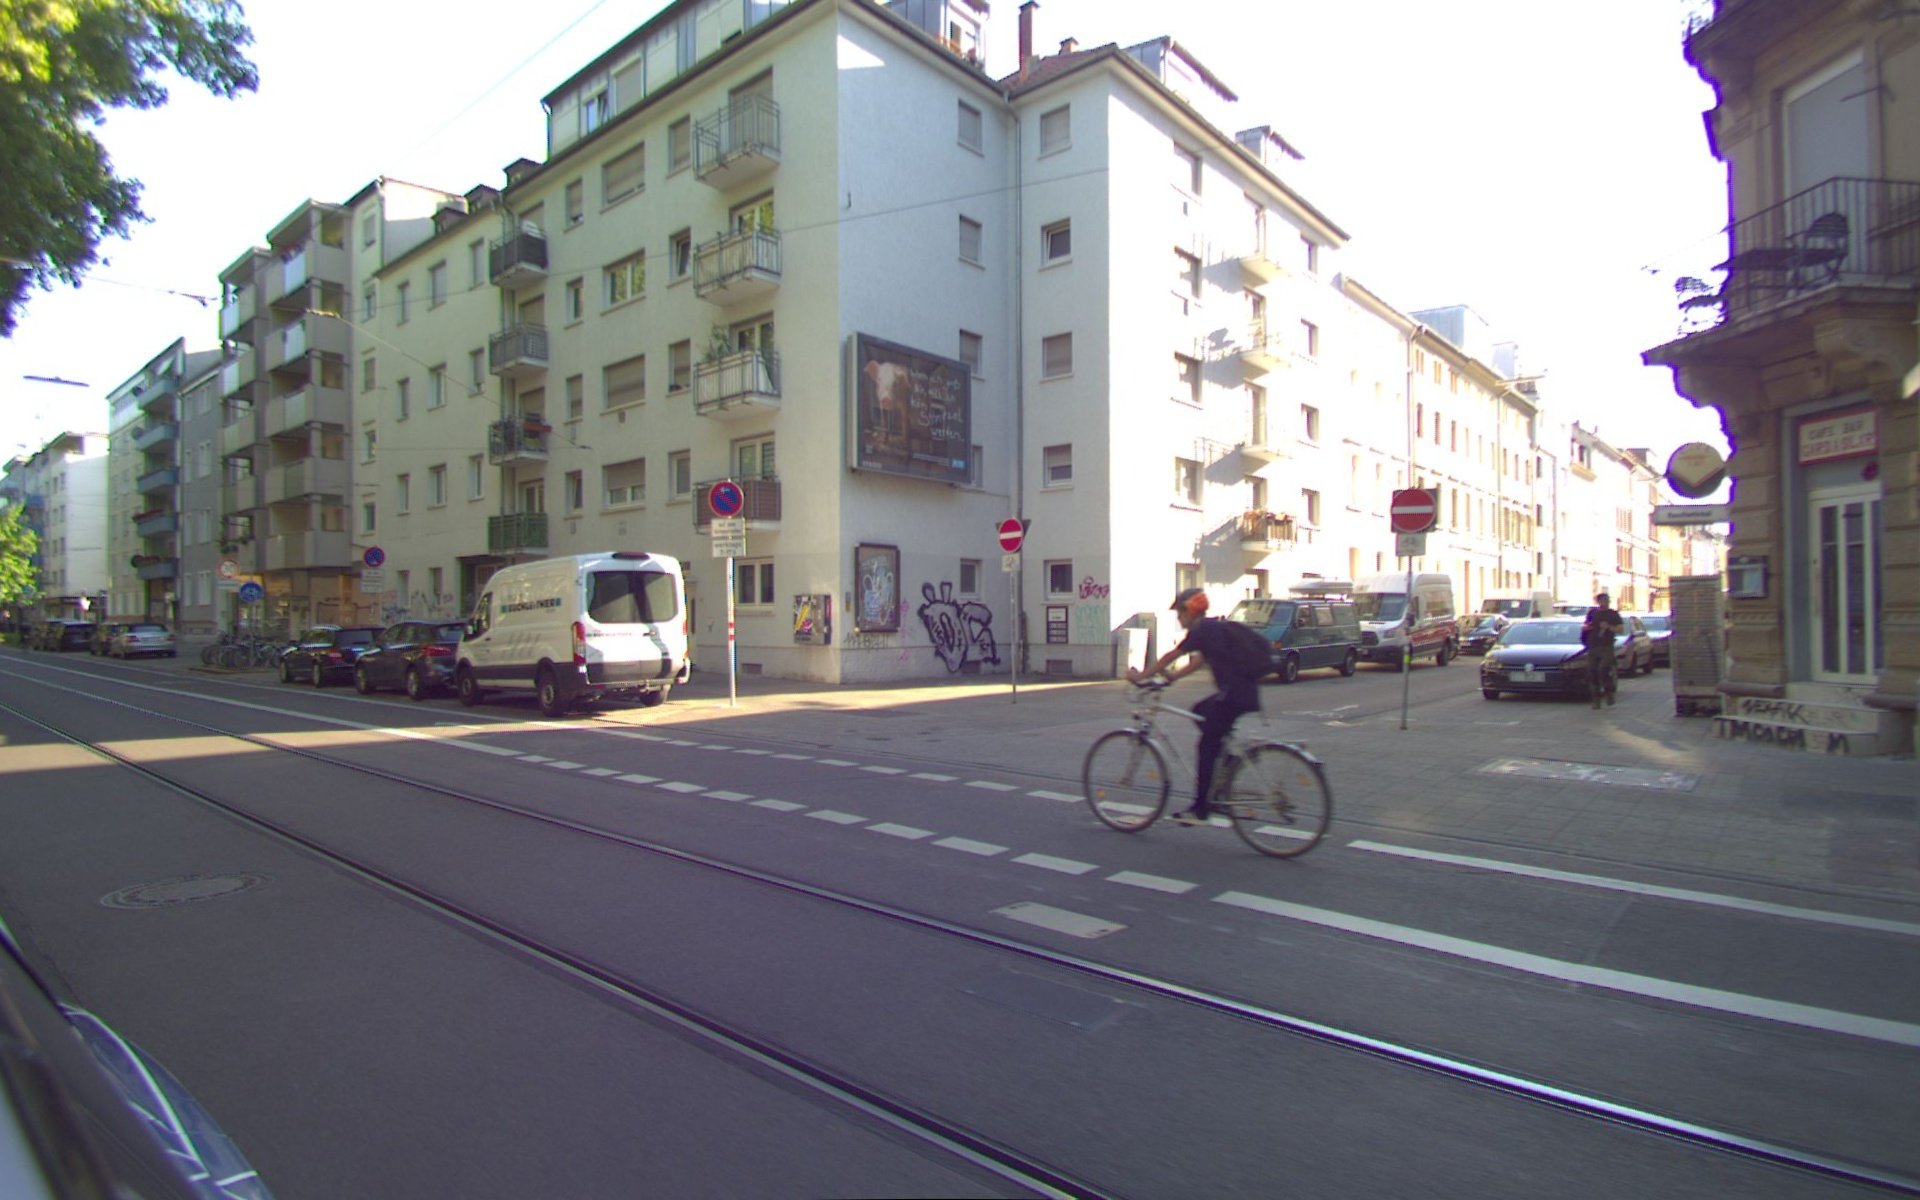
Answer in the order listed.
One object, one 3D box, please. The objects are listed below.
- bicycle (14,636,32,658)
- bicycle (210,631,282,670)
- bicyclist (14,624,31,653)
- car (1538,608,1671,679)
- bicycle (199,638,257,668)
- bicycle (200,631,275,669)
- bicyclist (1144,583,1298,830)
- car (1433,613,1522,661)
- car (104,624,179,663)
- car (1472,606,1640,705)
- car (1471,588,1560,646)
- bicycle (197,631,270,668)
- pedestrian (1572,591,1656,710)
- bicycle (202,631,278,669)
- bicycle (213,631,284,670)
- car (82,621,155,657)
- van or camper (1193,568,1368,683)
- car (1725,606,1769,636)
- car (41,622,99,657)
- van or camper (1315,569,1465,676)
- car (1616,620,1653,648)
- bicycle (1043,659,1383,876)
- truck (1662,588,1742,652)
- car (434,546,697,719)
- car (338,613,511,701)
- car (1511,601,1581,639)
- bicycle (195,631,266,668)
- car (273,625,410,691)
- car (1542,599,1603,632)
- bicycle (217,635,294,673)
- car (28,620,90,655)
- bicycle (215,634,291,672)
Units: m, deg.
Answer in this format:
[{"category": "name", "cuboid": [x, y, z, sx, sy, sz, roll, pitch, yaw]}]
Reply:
[{"category": "bicycle", "cuboid": [-45.284, 2.261, 48.910, 1.946, 1.025, 0.412, -1, -3, 42]}, {"category": "bicycle", "cuboid": [-22.578, 1.582, 32.024, 1.797, 1.127, 0.425, -1, 0, -42]}, {"category": "bicyclist", "cuboid": [-45.598, 1.862, 49.230, 0.709, 1.405, 0.503, -1, -3, 41]}, {"category": "car", "cuboid": [15.601, 1.003, 24.453, 3.623, 1.586, 1.857, 1, -2, -43]}, {"category": "bicycle", "cuboid": [-24.649, 1.782, 34.103, 0.400, 0.924, 1.610, -1, 0, 24]}, {"category": "bicycle", "cuboid": [-23.432, 1.597, 32.830, 1.937, 1.127, 0.440, -1, 0, -42]}, {"category": "bicyclist", "cuboid": [1.696, 0.653, 6.599, 0.807, 1.493, 0.576, -1, -2, 41]}, {"category": "car", "cuboid": [18.412, 1.285, 35.962, 1.855, 1.586, 3.626, -2, -2, 43]}, {"category": "car", "cuboid": [-33.472, 1.723, 41.335, 4.727, 1.502, 1.671, -1, -1, 42]}, {"category": "car", "cuboid": [10.612, 0.946, 17.971, 3.133, 1.597, 1.722, 1, -3, -43]}, {"category": "car", "cuboid": [22.371, 0.693, 40.692, 2.131, 2.176, 4.256, -2, -2, 43]}, {"category": "bicycle", "cuboid": [-23.820, 1.604, 33.204, 1.908, 1.127, 0.440, -1, 0, -42]}, {"category": "pedestrian", "cuboid": [10.067, 0.766, 15.587, 0.649, 1.762, 0.894, -1, -2, -45]}, {"category": "bicycle", "cuboid": [-23.089, 1.591, 32.483, 1.944, 1.127, 0.425, -1, 0, -42]}, {"category": "bicycle", "cuboid": [-22.233, 1.576, 31.658, 1.767, 1.127, 0.425, -1, 0, -42]}, {"category": "car", "cuboid": [-37.086, 1.702, 44.579, 4.237, 1.502, 1.775, -1, -1, 40]}, {"category": "van or camper", "cuboid": [7.615, 0.590, 23.749, 2.021, 2.405, 5.048, -1, -2, 42]}, {"category": "car", "cuboid": [48.060, 1.262, 61.781, 1.775, 1.698, 3.903, -1, 0, 43]}, {"category": "car", "cuboid": [-45.280, 1.974, 51.468, 4.199, 1.612, 1.639, -1, 0, 40]}, {"category": "van or camper", "cuboid": [12.187, 0.636, 28.434, 2.156, 2.690, 5.929, -2, -2, 40]}, {"category": "car", "cuboid": [42.379, 2.114, 63.580, 1.585, 1.606, 3.398, -1, 0, 39]}, {"category": "bicycle", "cuboid": [1.582, 1.010, 6.694, 2.231, 1.159, 0.416, -1, -2, 41]}, {"category": "truck", "cuboid": [31.218, 0.839, 42.522, 2.092, 2.534, 4.788, -2, -2, 43]}, {"category": "car", "cuboid": [-7.037, 0.524, 17.658, 5.667, 2.555, 2.042, -1, -1, 43]}, {"category": "car", "cuboid": [-11.202, 1.103, 21.054, 4.343, 1.644, 1.701, -1, -1, 40]}, {"category": "car", "cuboid": [25.329, 0.866, 43.693, 1.855, 1.586, 3.626, -2, -2, 43]}, {"category": "bicycle", "cuboid": [-24.254, 1.647, 33.666, 1.871, 1.127, 0.402, -1, 0, -42]}, {"category": "car", "cuboid": [-15.220, 1.349, 24.801, 4.572, 1.467, 1.699, -1, -1, 43]}, {"category": "car", "cuboid": [30.209, 0.770, 49.894, 1.855, 1.586, 3.626, -2, -2, 43]}, {"category": "bicycle", "cuboid": [-21.311, 1.627, 30.654, 1.871, 1.045, 0.402, -1, 0, -42]}, {"category": "car", "cuboid": [-48.693, 2.018, 54.665, 4.485, 1.751, 1.762, -1, 0, 39]}, {"category": "bicycle", "cuboid": [-21.701, 1.607, 31.071, 1.871, 1.045, 0.402, -1, 0, -42]}]
